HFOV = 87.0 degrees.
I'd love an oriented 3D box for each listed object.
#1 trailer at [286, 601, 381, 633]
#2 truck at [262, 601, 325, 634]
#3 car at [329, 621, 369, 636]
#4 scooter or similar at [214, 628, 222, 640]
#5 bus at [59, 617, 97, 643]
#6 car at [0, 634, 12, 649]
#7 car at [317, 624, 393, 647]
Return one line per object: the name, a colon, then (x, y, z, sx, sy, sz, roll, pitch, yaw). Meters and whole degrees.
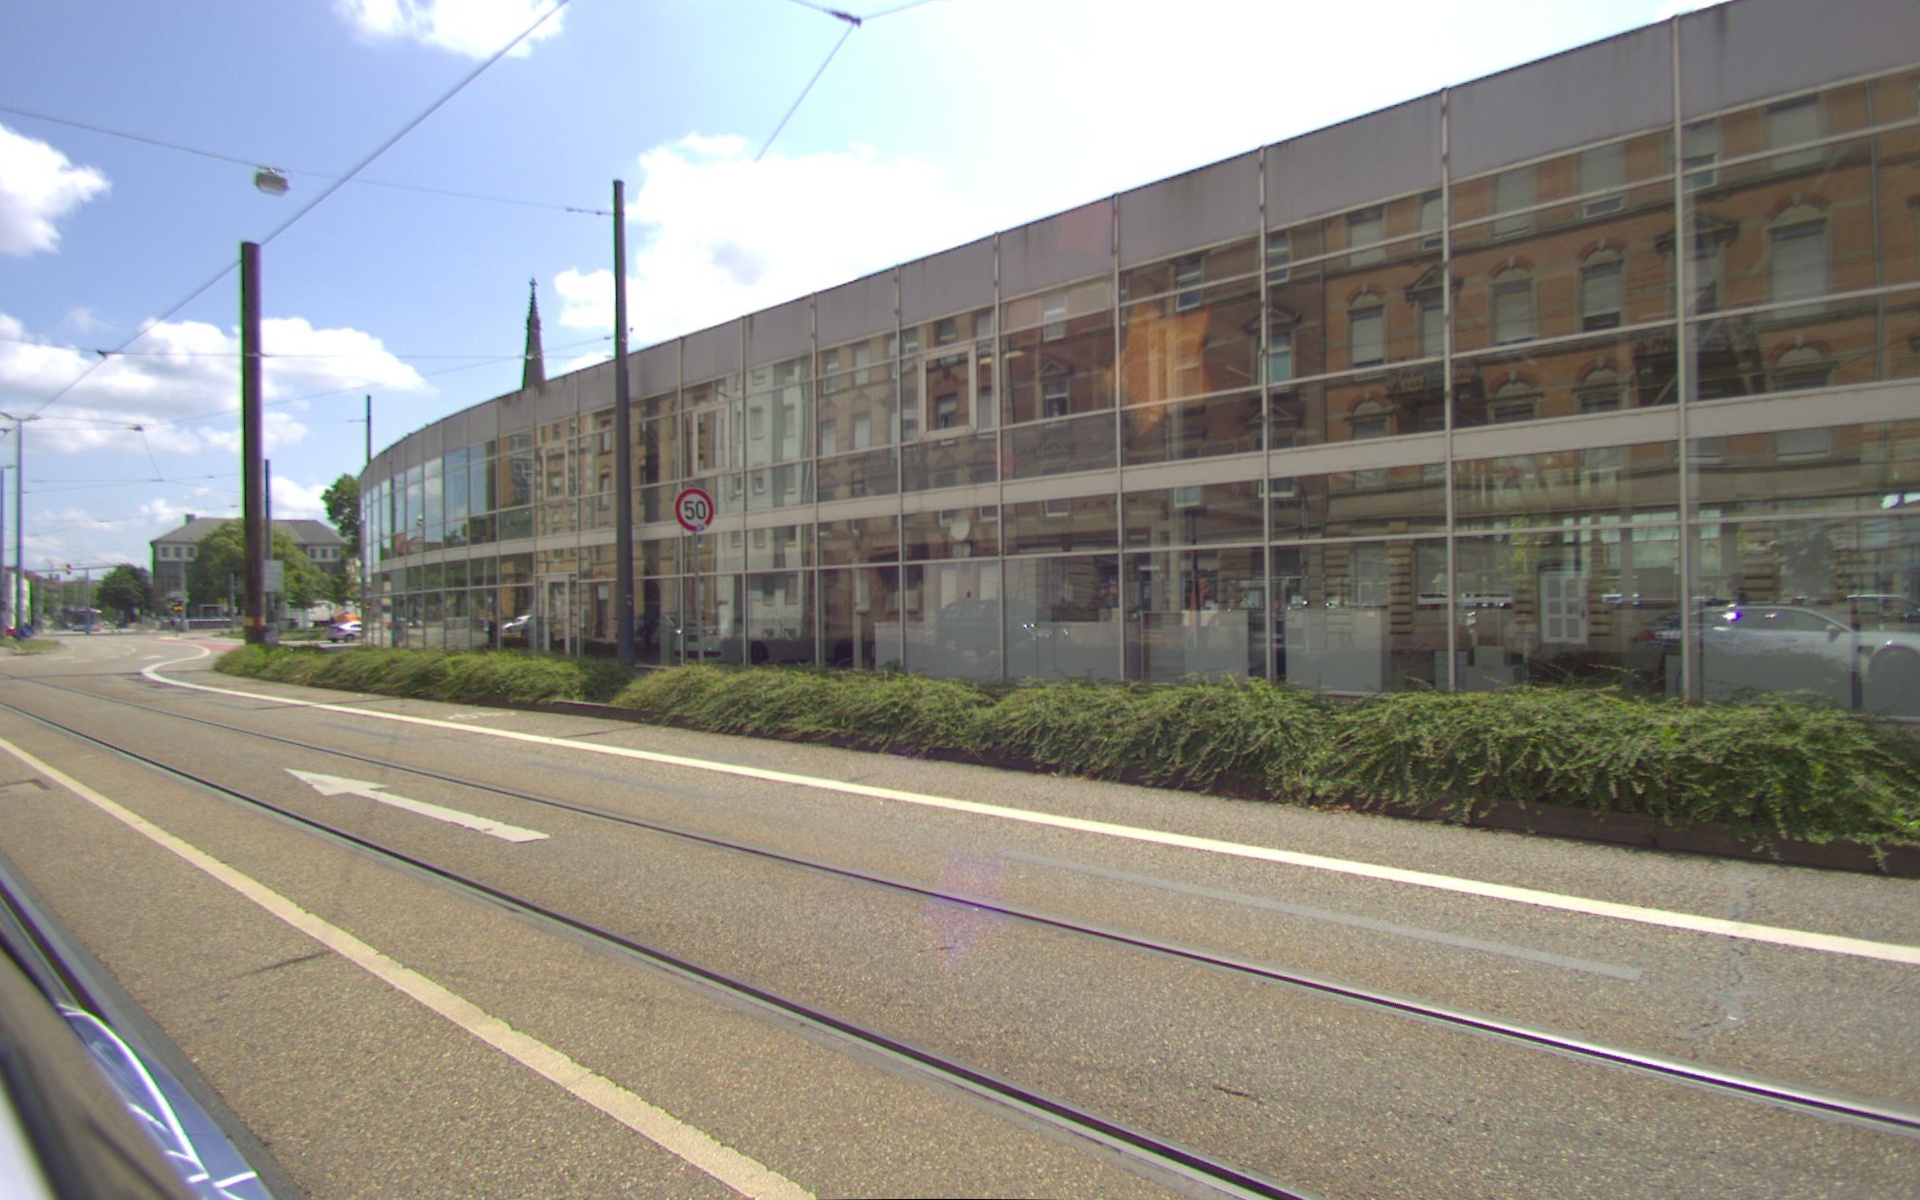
trailer: (-85.000, 2.277, 137.722, 2.916, 4.107, 13.378, -1, -1, 9)
truck: (-86.129, 2.203, 130.961, 2.931, 4.150, 6.857, -1, -1, 10)
car: (-77.696, 3.672, 128.796, 1.898, 1.880, 4.349, -1, -2, 13)
scooter or similar: (-70.848, 3.250, 96.605, 0.549, 1.209, 0.456, -2, -2, 40)
bus: (-121.486, 4.176, 139.518, 2.902, 3.474, 7.969, 0, -1, -33)
car: (-97.202, 4.183, 102.270, 3.900, 1.439, 1.684, -2, -2, 41)
car: (-41.631, 2.444, 69.726, 1.812, 1.431, 4.147, -1, -1, 28)
